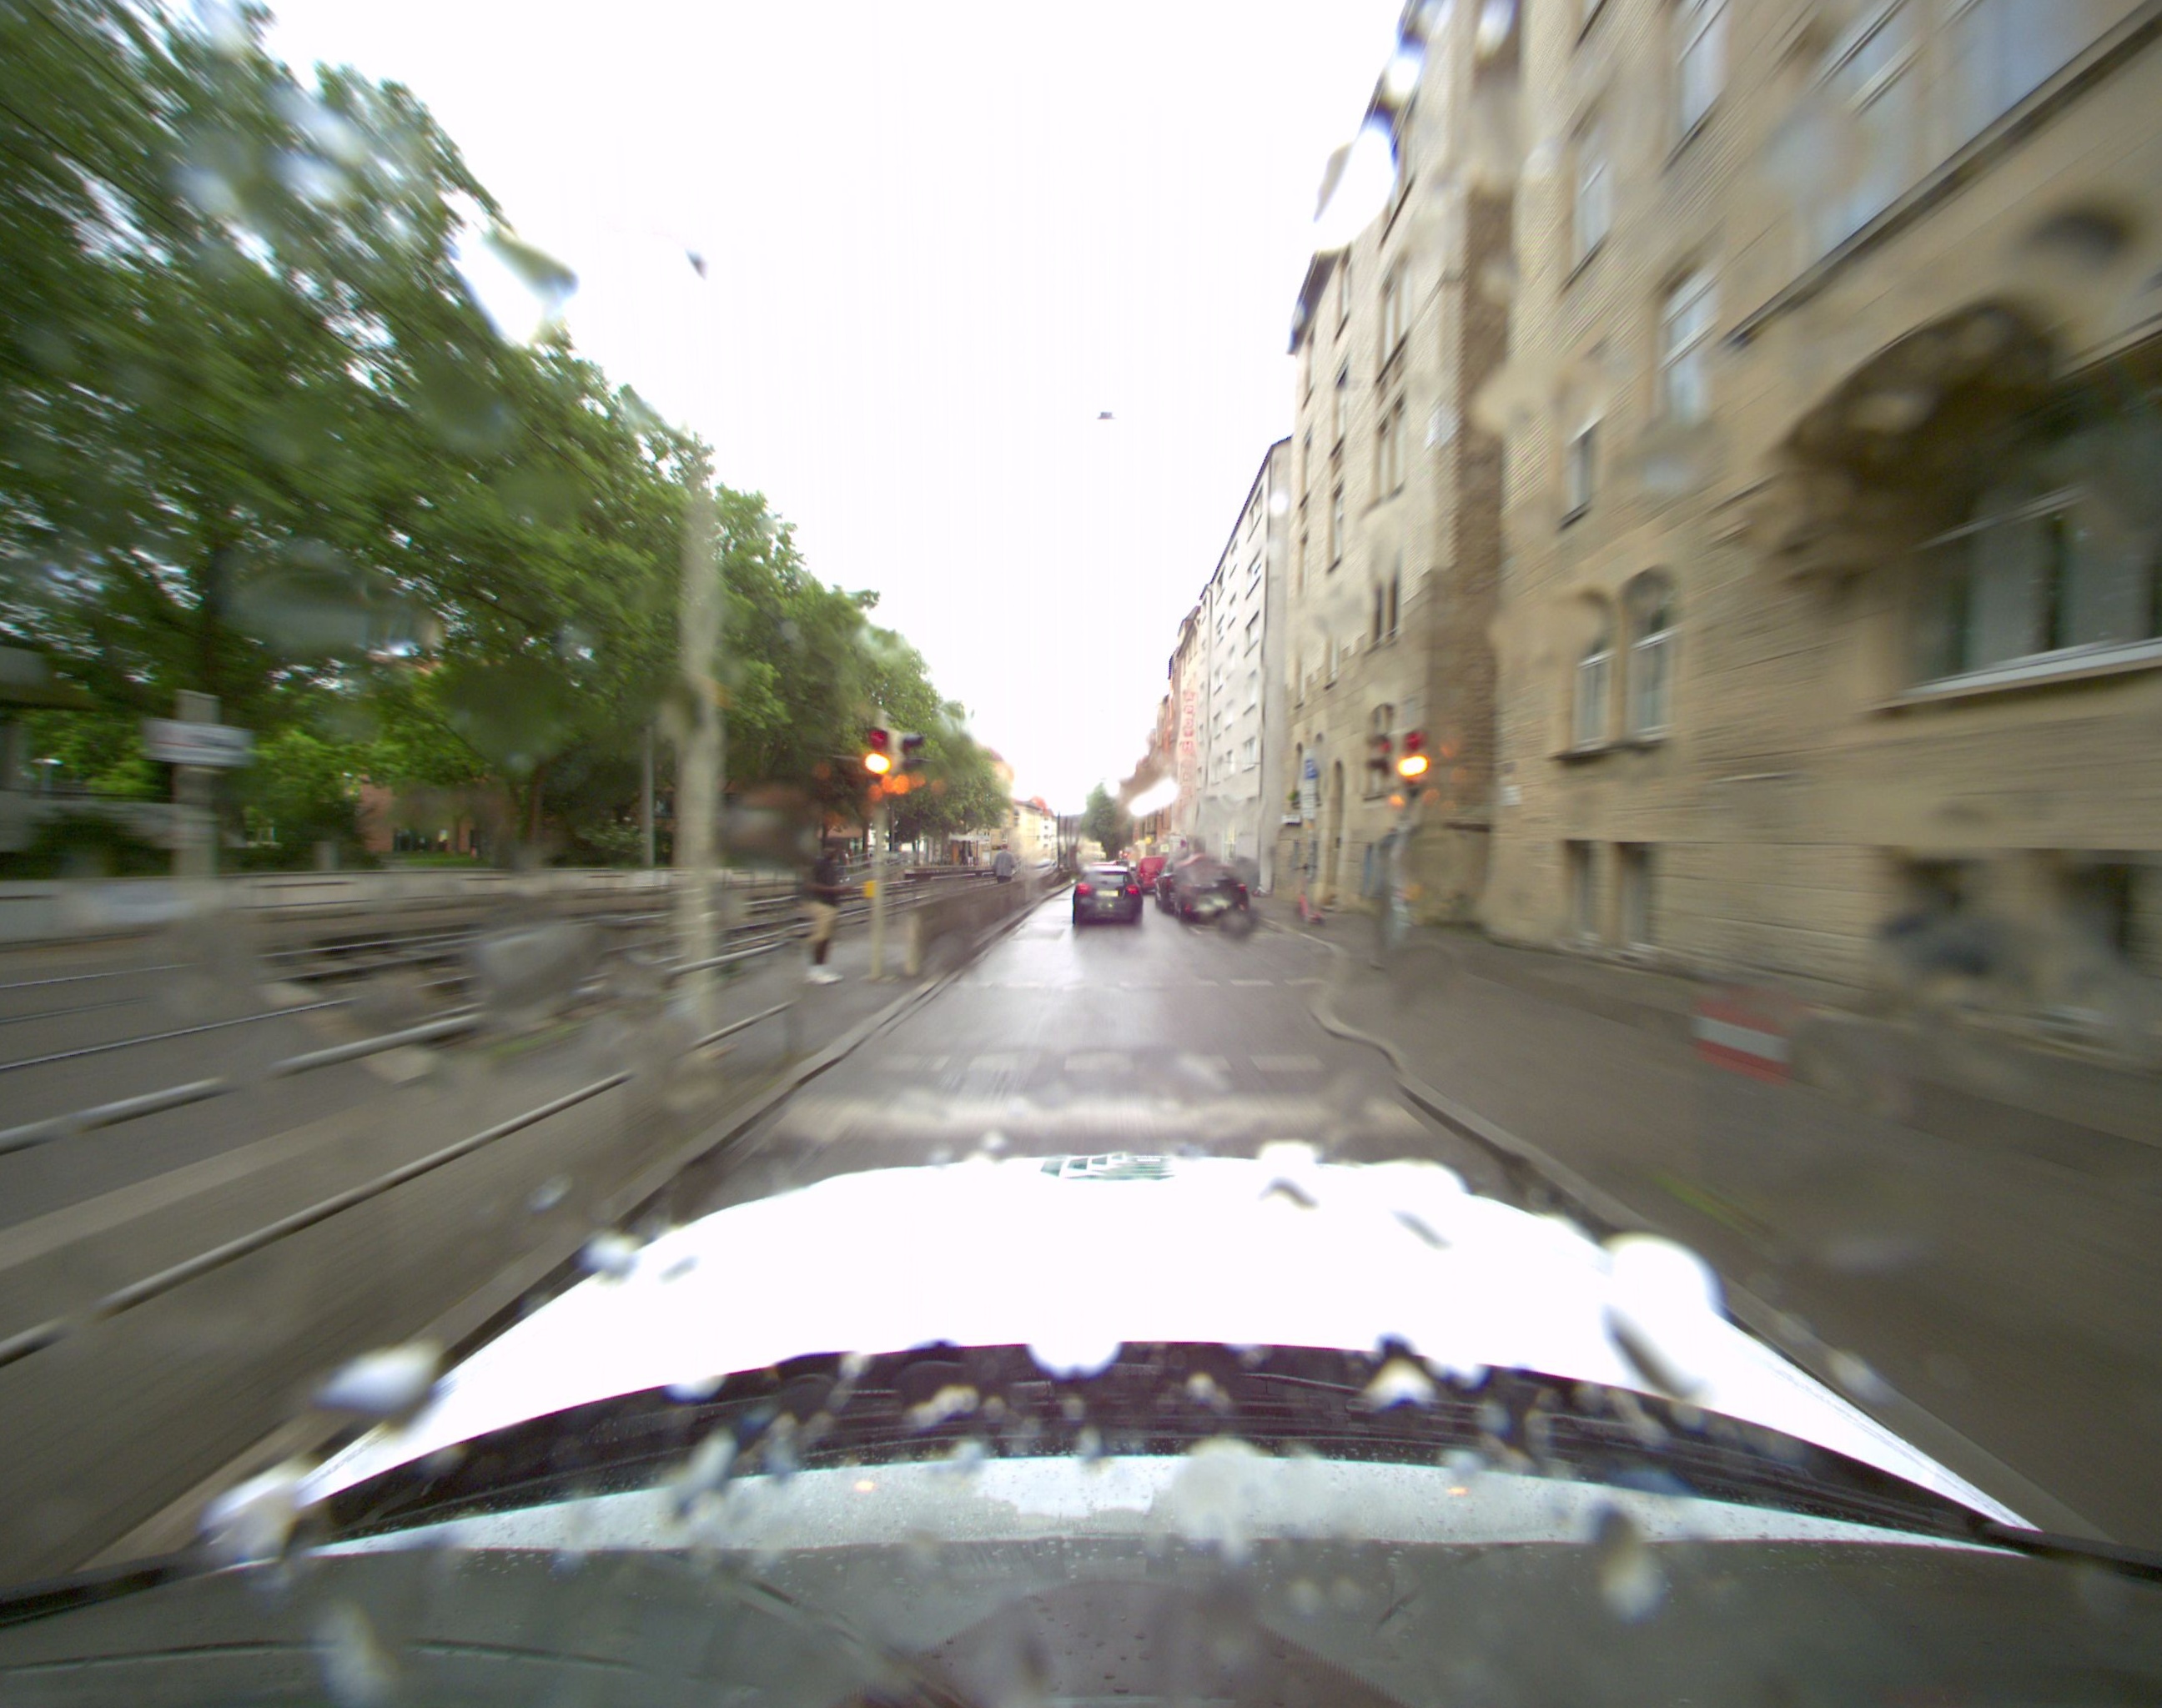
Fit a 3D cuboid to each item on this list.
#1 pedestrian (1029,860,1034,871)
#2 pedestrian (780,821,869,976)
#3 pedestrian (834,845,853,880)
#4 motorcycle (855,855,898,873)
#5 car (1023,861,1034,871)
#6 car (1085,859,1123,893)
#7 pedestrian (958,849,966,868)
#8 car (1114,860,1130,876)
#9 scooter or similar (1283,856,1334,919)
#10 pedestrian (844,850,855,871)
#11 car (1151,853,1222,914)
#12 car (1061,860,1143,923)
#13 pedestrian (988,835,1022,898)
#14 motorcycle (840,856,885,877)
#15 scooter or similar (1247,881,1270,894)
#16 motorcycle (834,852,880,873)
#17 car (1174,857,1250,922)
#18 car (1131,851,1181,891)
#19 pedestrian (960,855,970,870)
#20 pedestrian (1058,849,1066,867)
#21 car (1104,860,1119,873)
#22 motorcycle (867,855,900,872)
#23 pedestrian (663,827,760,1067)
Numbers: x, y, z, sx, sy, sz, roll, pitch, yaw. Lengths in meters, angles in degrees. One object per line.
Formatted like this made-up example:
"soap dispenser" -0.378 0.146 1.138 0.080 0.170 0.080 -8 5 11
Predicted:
"pedestrian" -8.285 1.908 137.569 0.758 1.750 0.645 0 0 2
"pedestrian" -2.937 0.486 9.360 0.645 1.704 0.665 1 -1 24
"pedestrian" -11.480 0.413 39.348 0.655 1.663 0.688 2 2 1
"motorcycle" -19.917 0.988 79.280 3.852 1.605 1.006 2 -1 -1
"car" -10.716 2.458 166.532 1.986 1.860 4.001 0 -1 1
"car" 1.036 1.015 38.618 1.675 1.489 3.611 0 -1 -1
"pedestrian" -10.818 0.377 74.002 0.560 1.715 0.705 2 0 -1
"car" 5.036 1.692 101.085 1.913 1.936 4.687 1 -1 2
"scooter or similar" 5.018 0.742 18.037 0.366 1.315 1.561 -1 -2 -12
"pedestrian" -22.306 0.670 78.607 0.730 2.014 0.980 1 -1 -1
"car" 3.191 0.853 25.430 1.759 1.708 4.501 1 0 2
"car" 0.560 0.884 20.885 1.887 1.390 4.002 0 0 2
"pedestrian" -2.251 0.368 24.183 0.856 1.799 0.787 2 -1 0
"motorcycle" -20.327 1.191 75.913 3.852 1.816 1.006 2 -1 -1
"scooter or similar" 6.948 1.305 31.928 0.850 0.506 0.259 0 -1 31
"motorcycle" -20.451 0.764 74.374 3.852 1.774 1.006 2 -1 -1
"car" 3.268 0.833 20.852 1.653 1.452 3.614 1 0 5
"car" 3.712 0.846 41.272 1.969 1.838 5.243 1 -1 -1
"pedestrian" -10.967 0.832 76.943 0.775 1.362 0.564 2 0 -1
"pedestrian" -1.717 0.381 72.196 0.492 1.605 0.639 1 -1 17
"car" 4.312 1.804 116.562 1.928 1.831 4.278 1 0 -1
"motorcycle" -19.967 0.938 82.424 3.049 1.627 1.006 2 -1 -1
"pedestrian" -2.636 0.636 5.838 0.431 1.639 0.481 1 0 0
